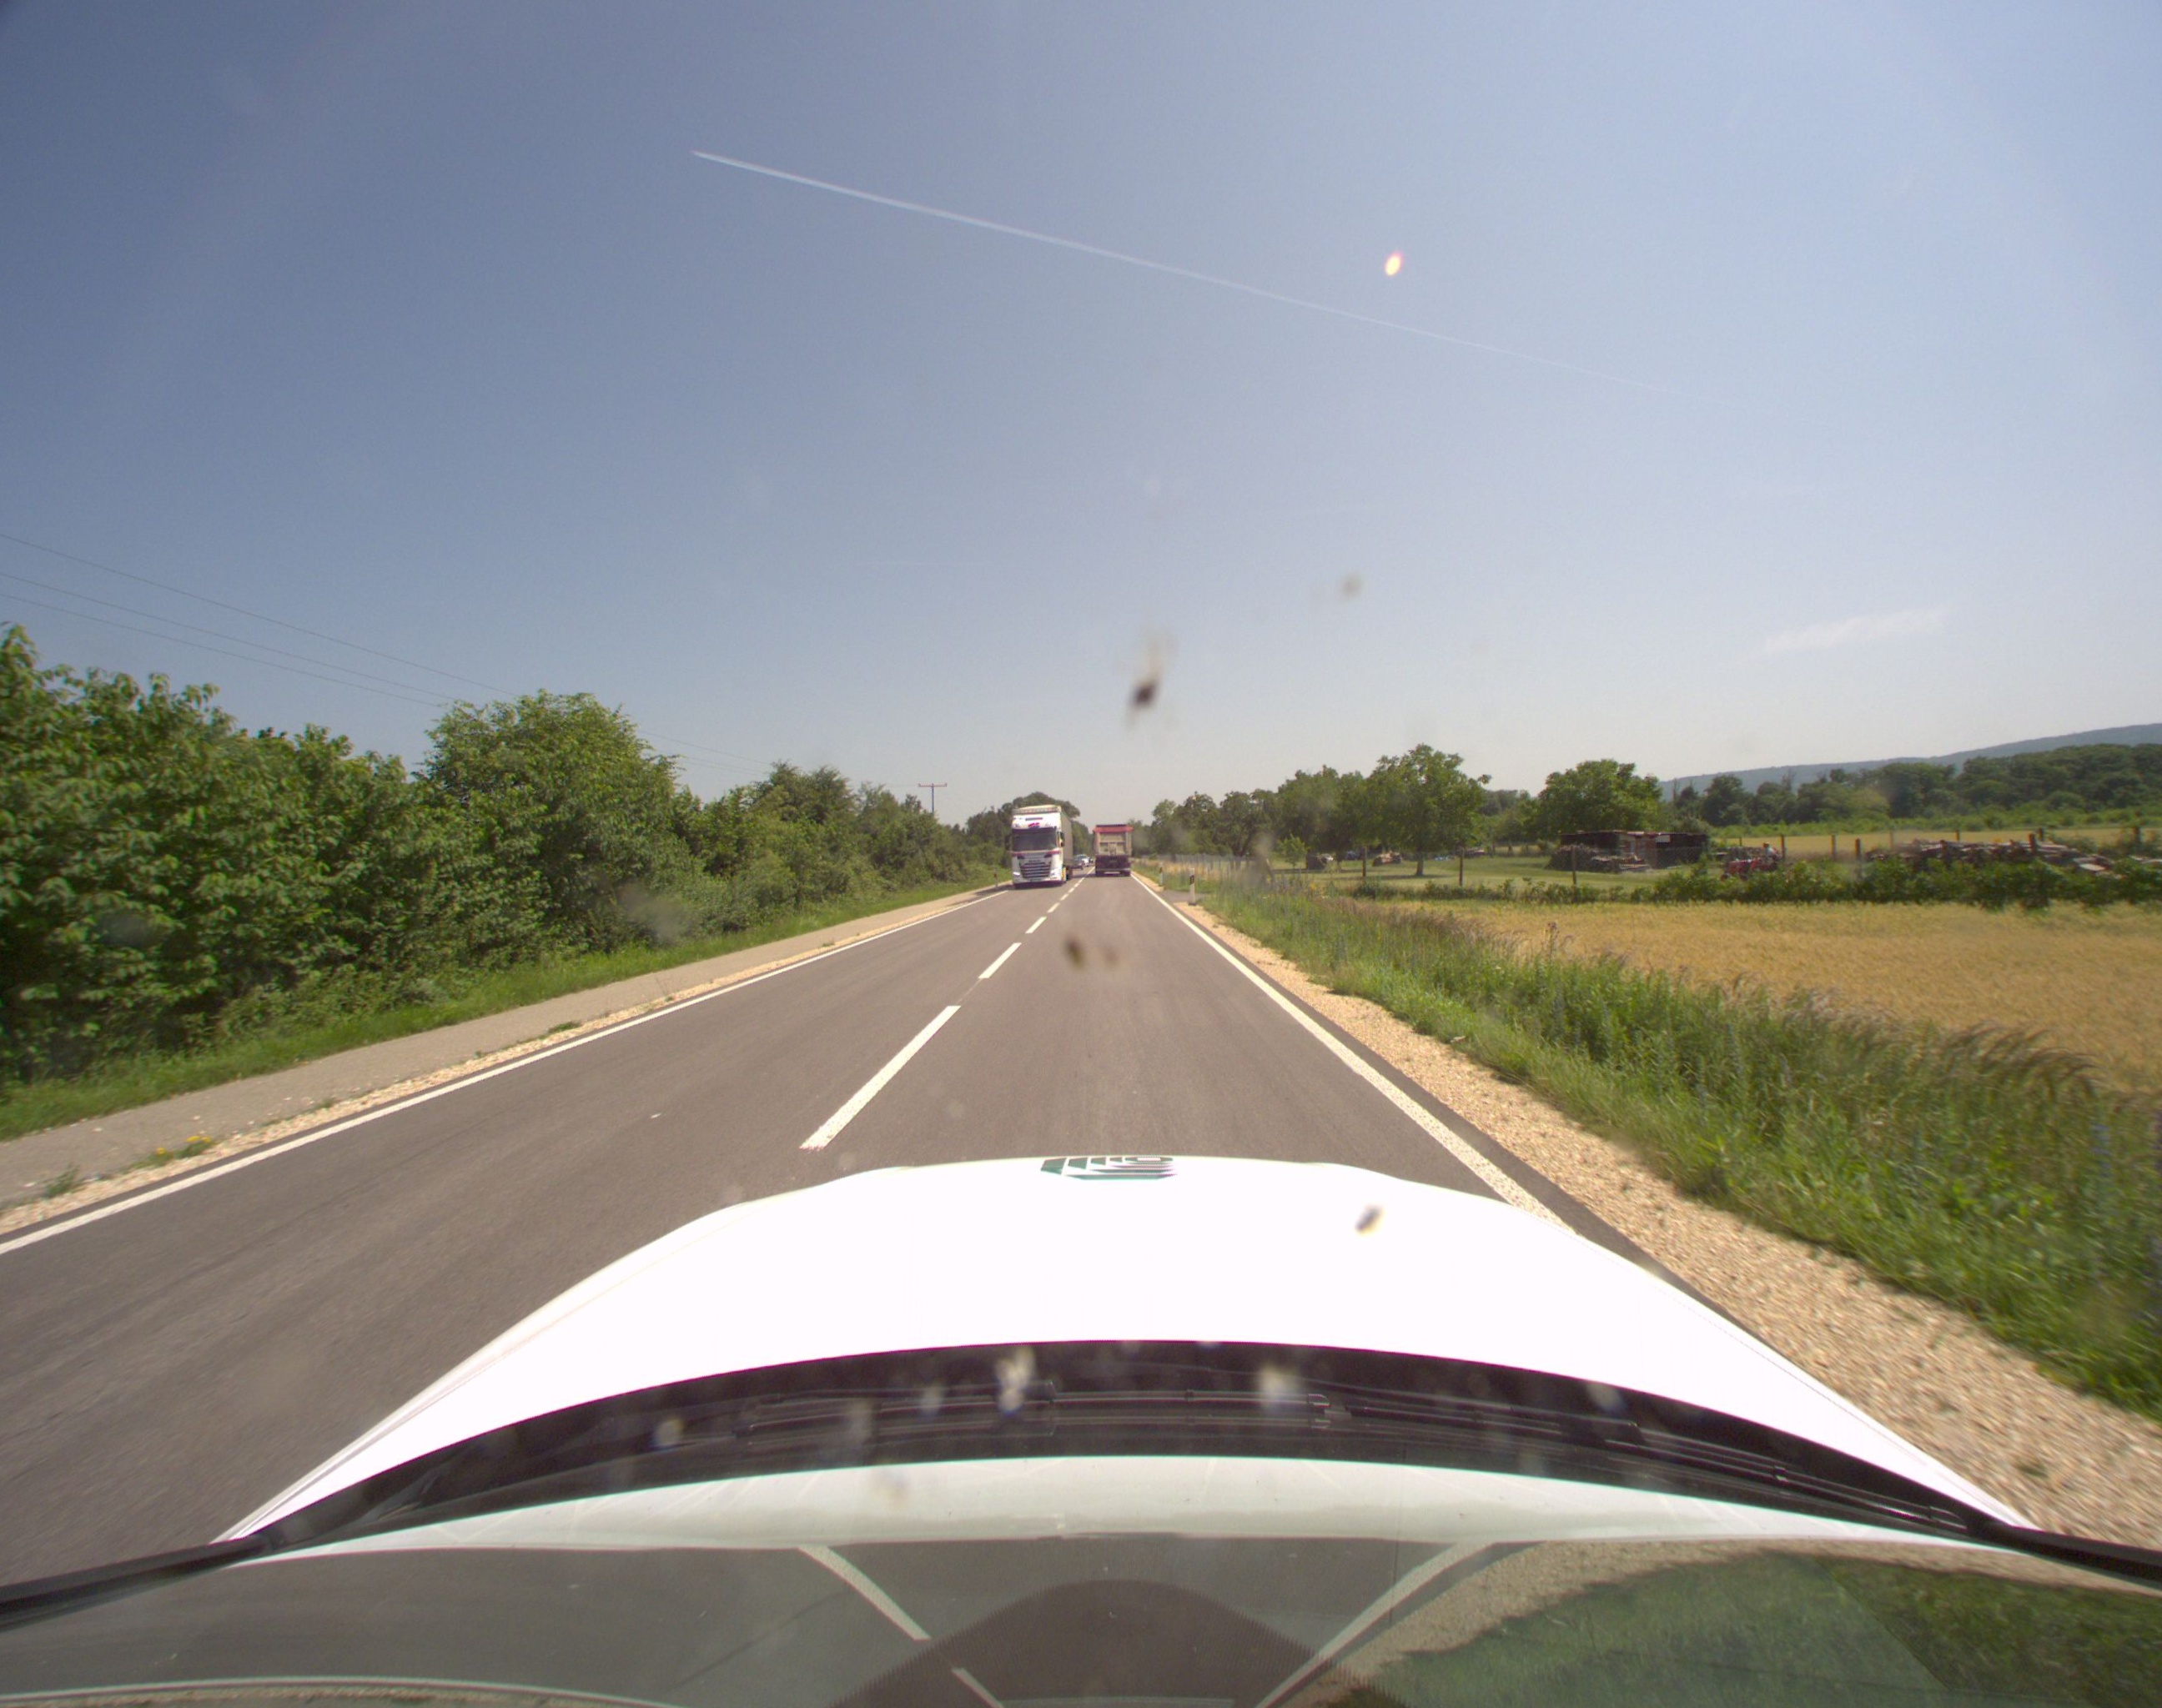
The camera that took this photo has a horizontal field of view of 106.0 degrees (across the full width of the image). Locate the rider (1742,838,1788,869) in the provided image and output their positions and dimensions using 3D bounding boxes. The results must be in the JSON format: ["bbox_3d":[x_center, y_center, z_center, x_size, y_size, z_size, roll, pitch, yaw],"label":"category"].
[{"bbox_3d":[27.915,-0.031,33.250,1.022,1.217,0.984,-1,0,-5],"label":"rider"}]

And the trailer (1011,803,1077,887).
[{"bbox_3d":[-2.011,-0.476,50.021,2.706,4.266,13.816,-3,0,2],"label":"trailer"}]

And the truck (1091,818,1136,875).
[{"bbox_3d":[2.351,-0.464,60.808,2.998,3.874,12.213,0,0,2],"label":"truck"}]

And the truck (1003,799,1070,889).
[{"bbox_3d":[-2.249,-0.488,43.960,2.707,4.266,7.393,-3,0,2],"label":"truck"}]

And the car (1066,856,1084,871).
[{"bbox_3d":[-0.617,1.028,87.770,1.689,1.406,4.046,-4,0,0],"label":"car"}]

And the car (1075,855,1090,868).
[{"bbox_3d":[0.183,0.967,107.280,1.752,1.606,4.483,-4,0,1],"label":"car"}]

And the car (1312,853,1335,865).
[{"bbox_3d":[30.598,0.627,102.948,1.591,1.486,3.420,-2,1,-6],"label":"car"}]

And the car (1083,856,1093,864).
[{"bbox_3d":[1.289,1.056,147.675,1.752,1.357,4.047,-4,0,1],"label":"car"}]

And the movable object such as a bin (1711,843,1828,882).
[{"bbox_3d":[27.940,0.335,33.187,1.567,1.496,3.655,-1,0,-3],"label":"movable object such as a bin"}]
